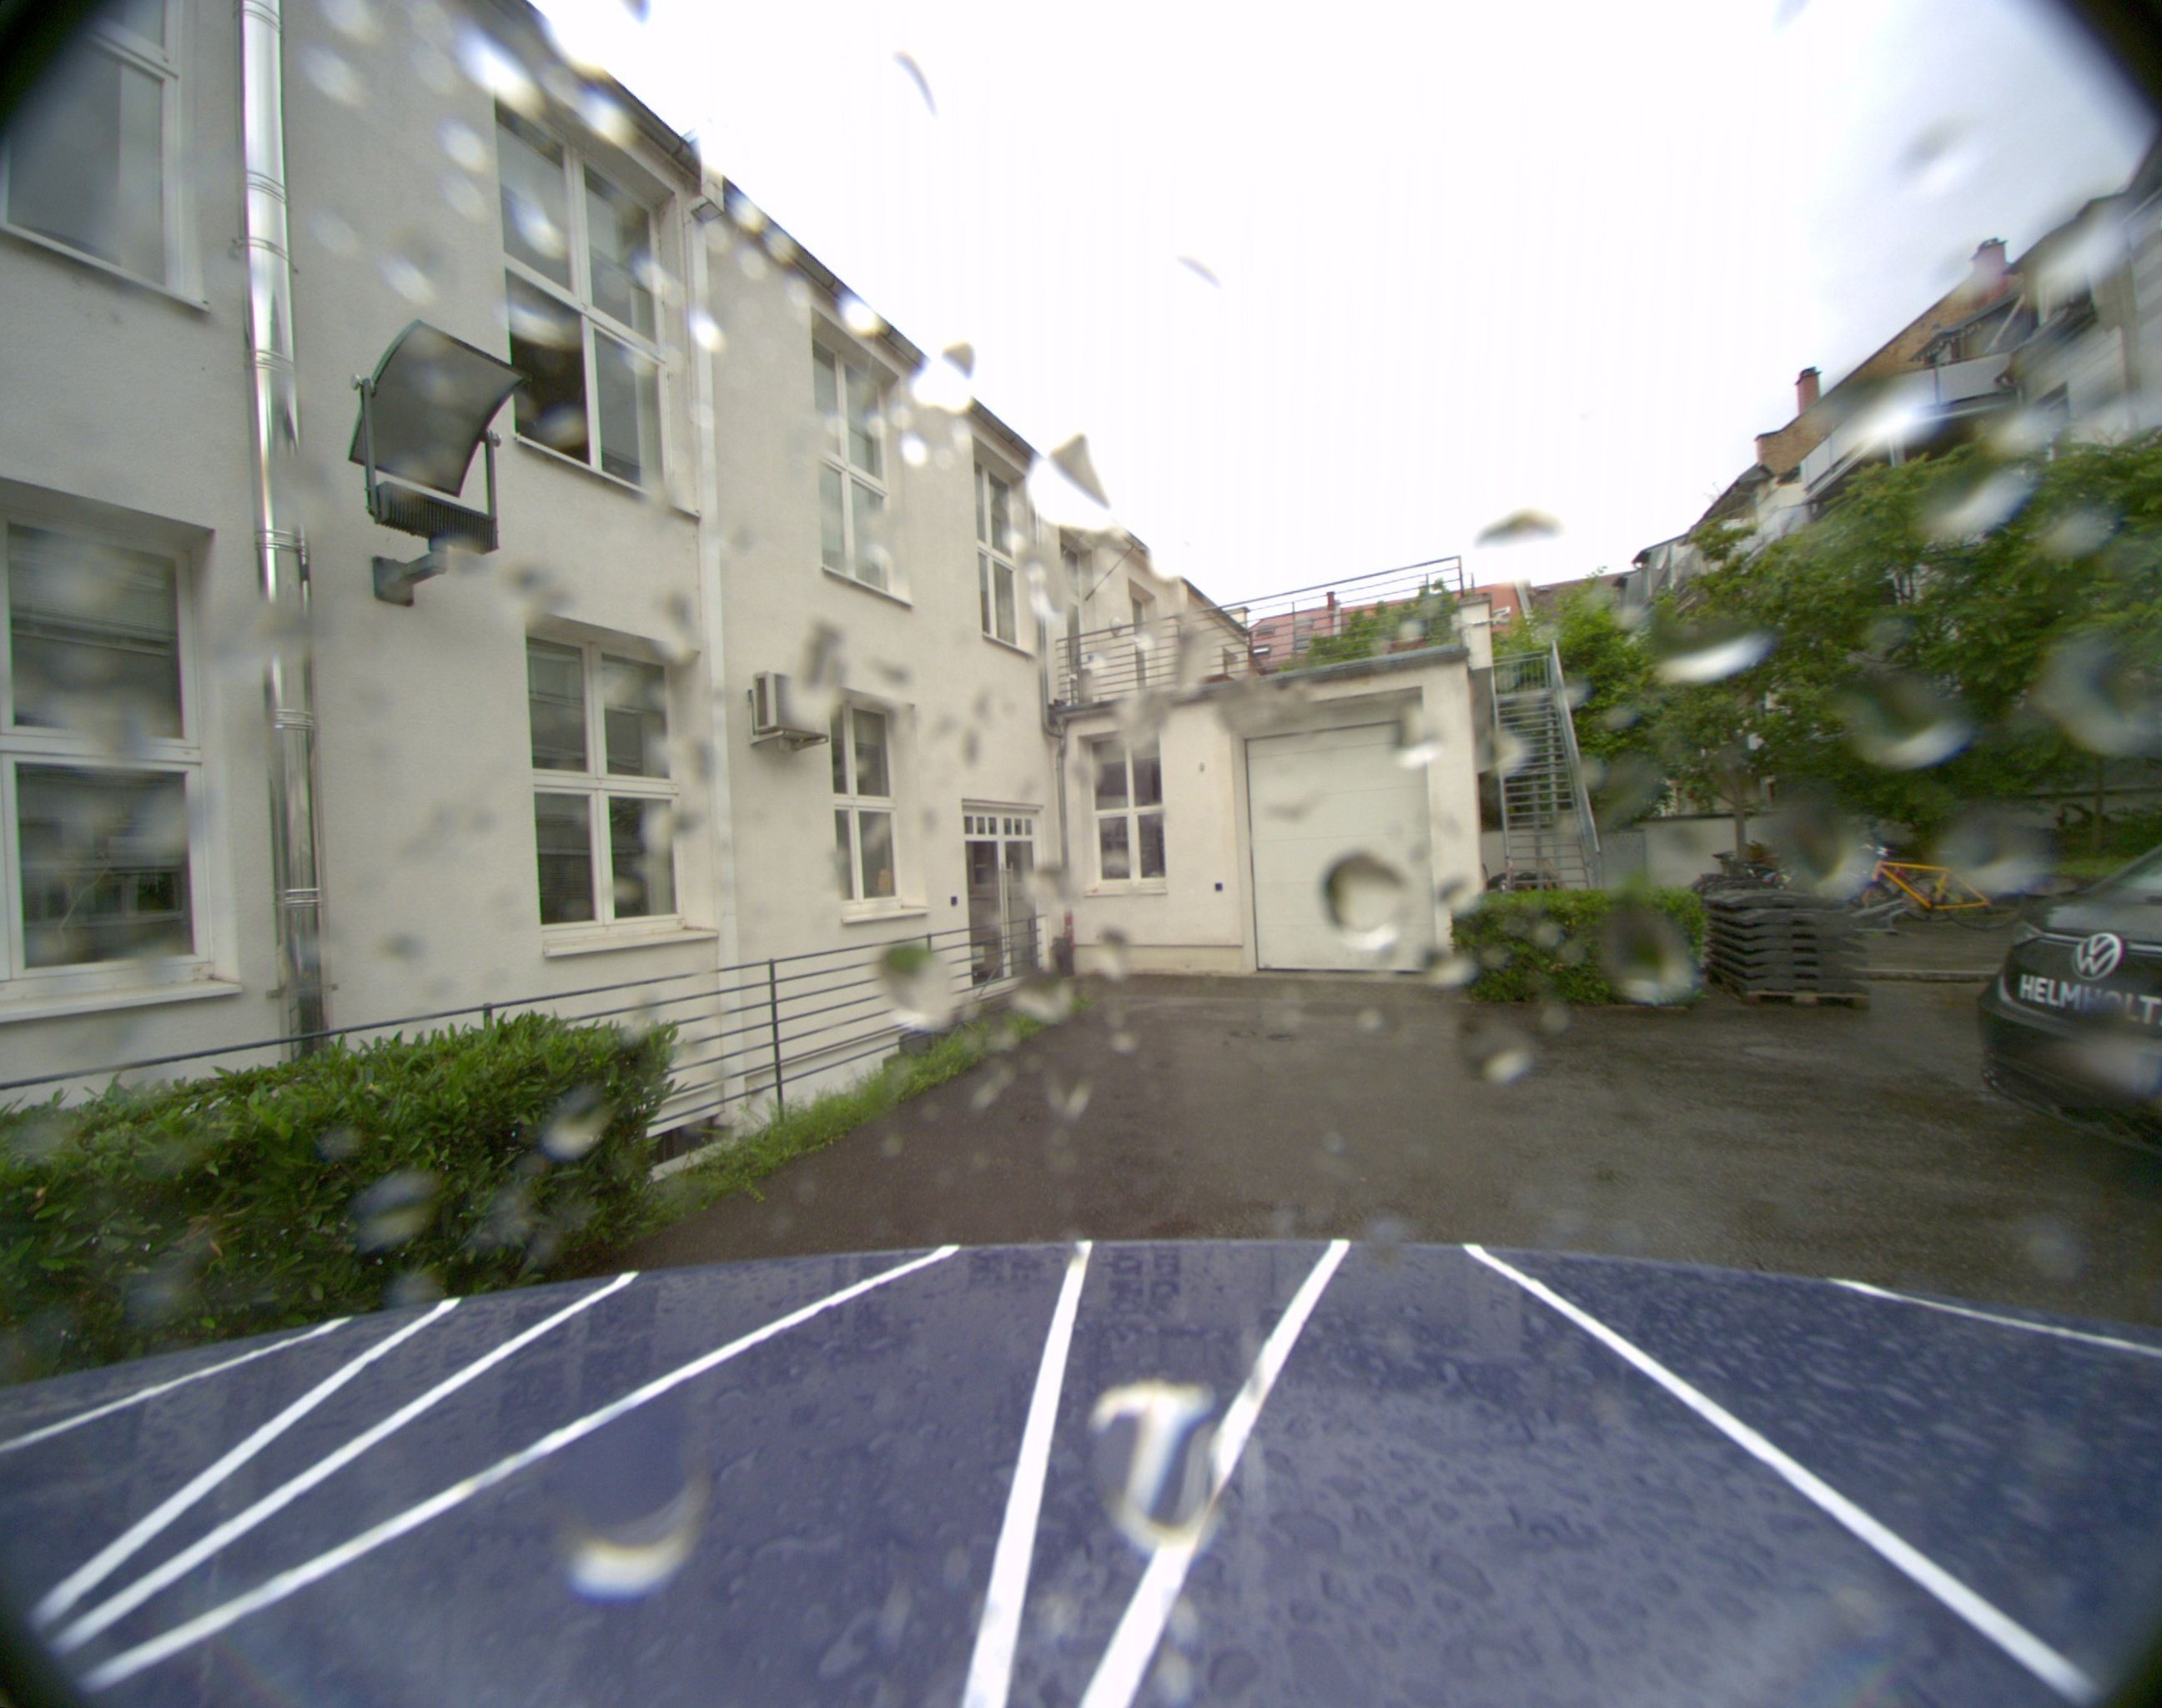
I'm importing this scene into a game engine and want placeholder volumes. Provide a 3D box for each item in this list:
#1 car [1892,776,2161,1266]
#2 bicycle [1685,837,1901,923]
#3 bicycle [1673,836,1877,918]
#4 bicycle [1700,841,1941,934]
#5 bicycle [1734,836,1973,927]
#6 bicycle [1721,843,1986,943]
[{"bbox_3d":[6.289,0.488,2.393,4.622,1.825,1.991,-4,-2,21],"label":"car"},{"bbox_3d":[10.878,0.418,11.729,2.315,1.179,0.644,-4,2,29],"label":"bicycle"},{"bbox_3d":[11.130,0.384,12.311,2.315,1.179,0.644,-4,2,29],"label":"bicycle"},{"bbox_3d":[10.299,0.489,10.714,2.315,1.179,0.644,-4,2,29],"label":"bicycle"},{"bbox_3d":[11.095,0.419,11.040,2.315,1.179,0.644,-4,2,29],"label":"bicycle"},{"bbox_3d":[9.996,0.532,9.970,2.315,1.179,0.644,-4,2,29],"label":"bicycle"}]
